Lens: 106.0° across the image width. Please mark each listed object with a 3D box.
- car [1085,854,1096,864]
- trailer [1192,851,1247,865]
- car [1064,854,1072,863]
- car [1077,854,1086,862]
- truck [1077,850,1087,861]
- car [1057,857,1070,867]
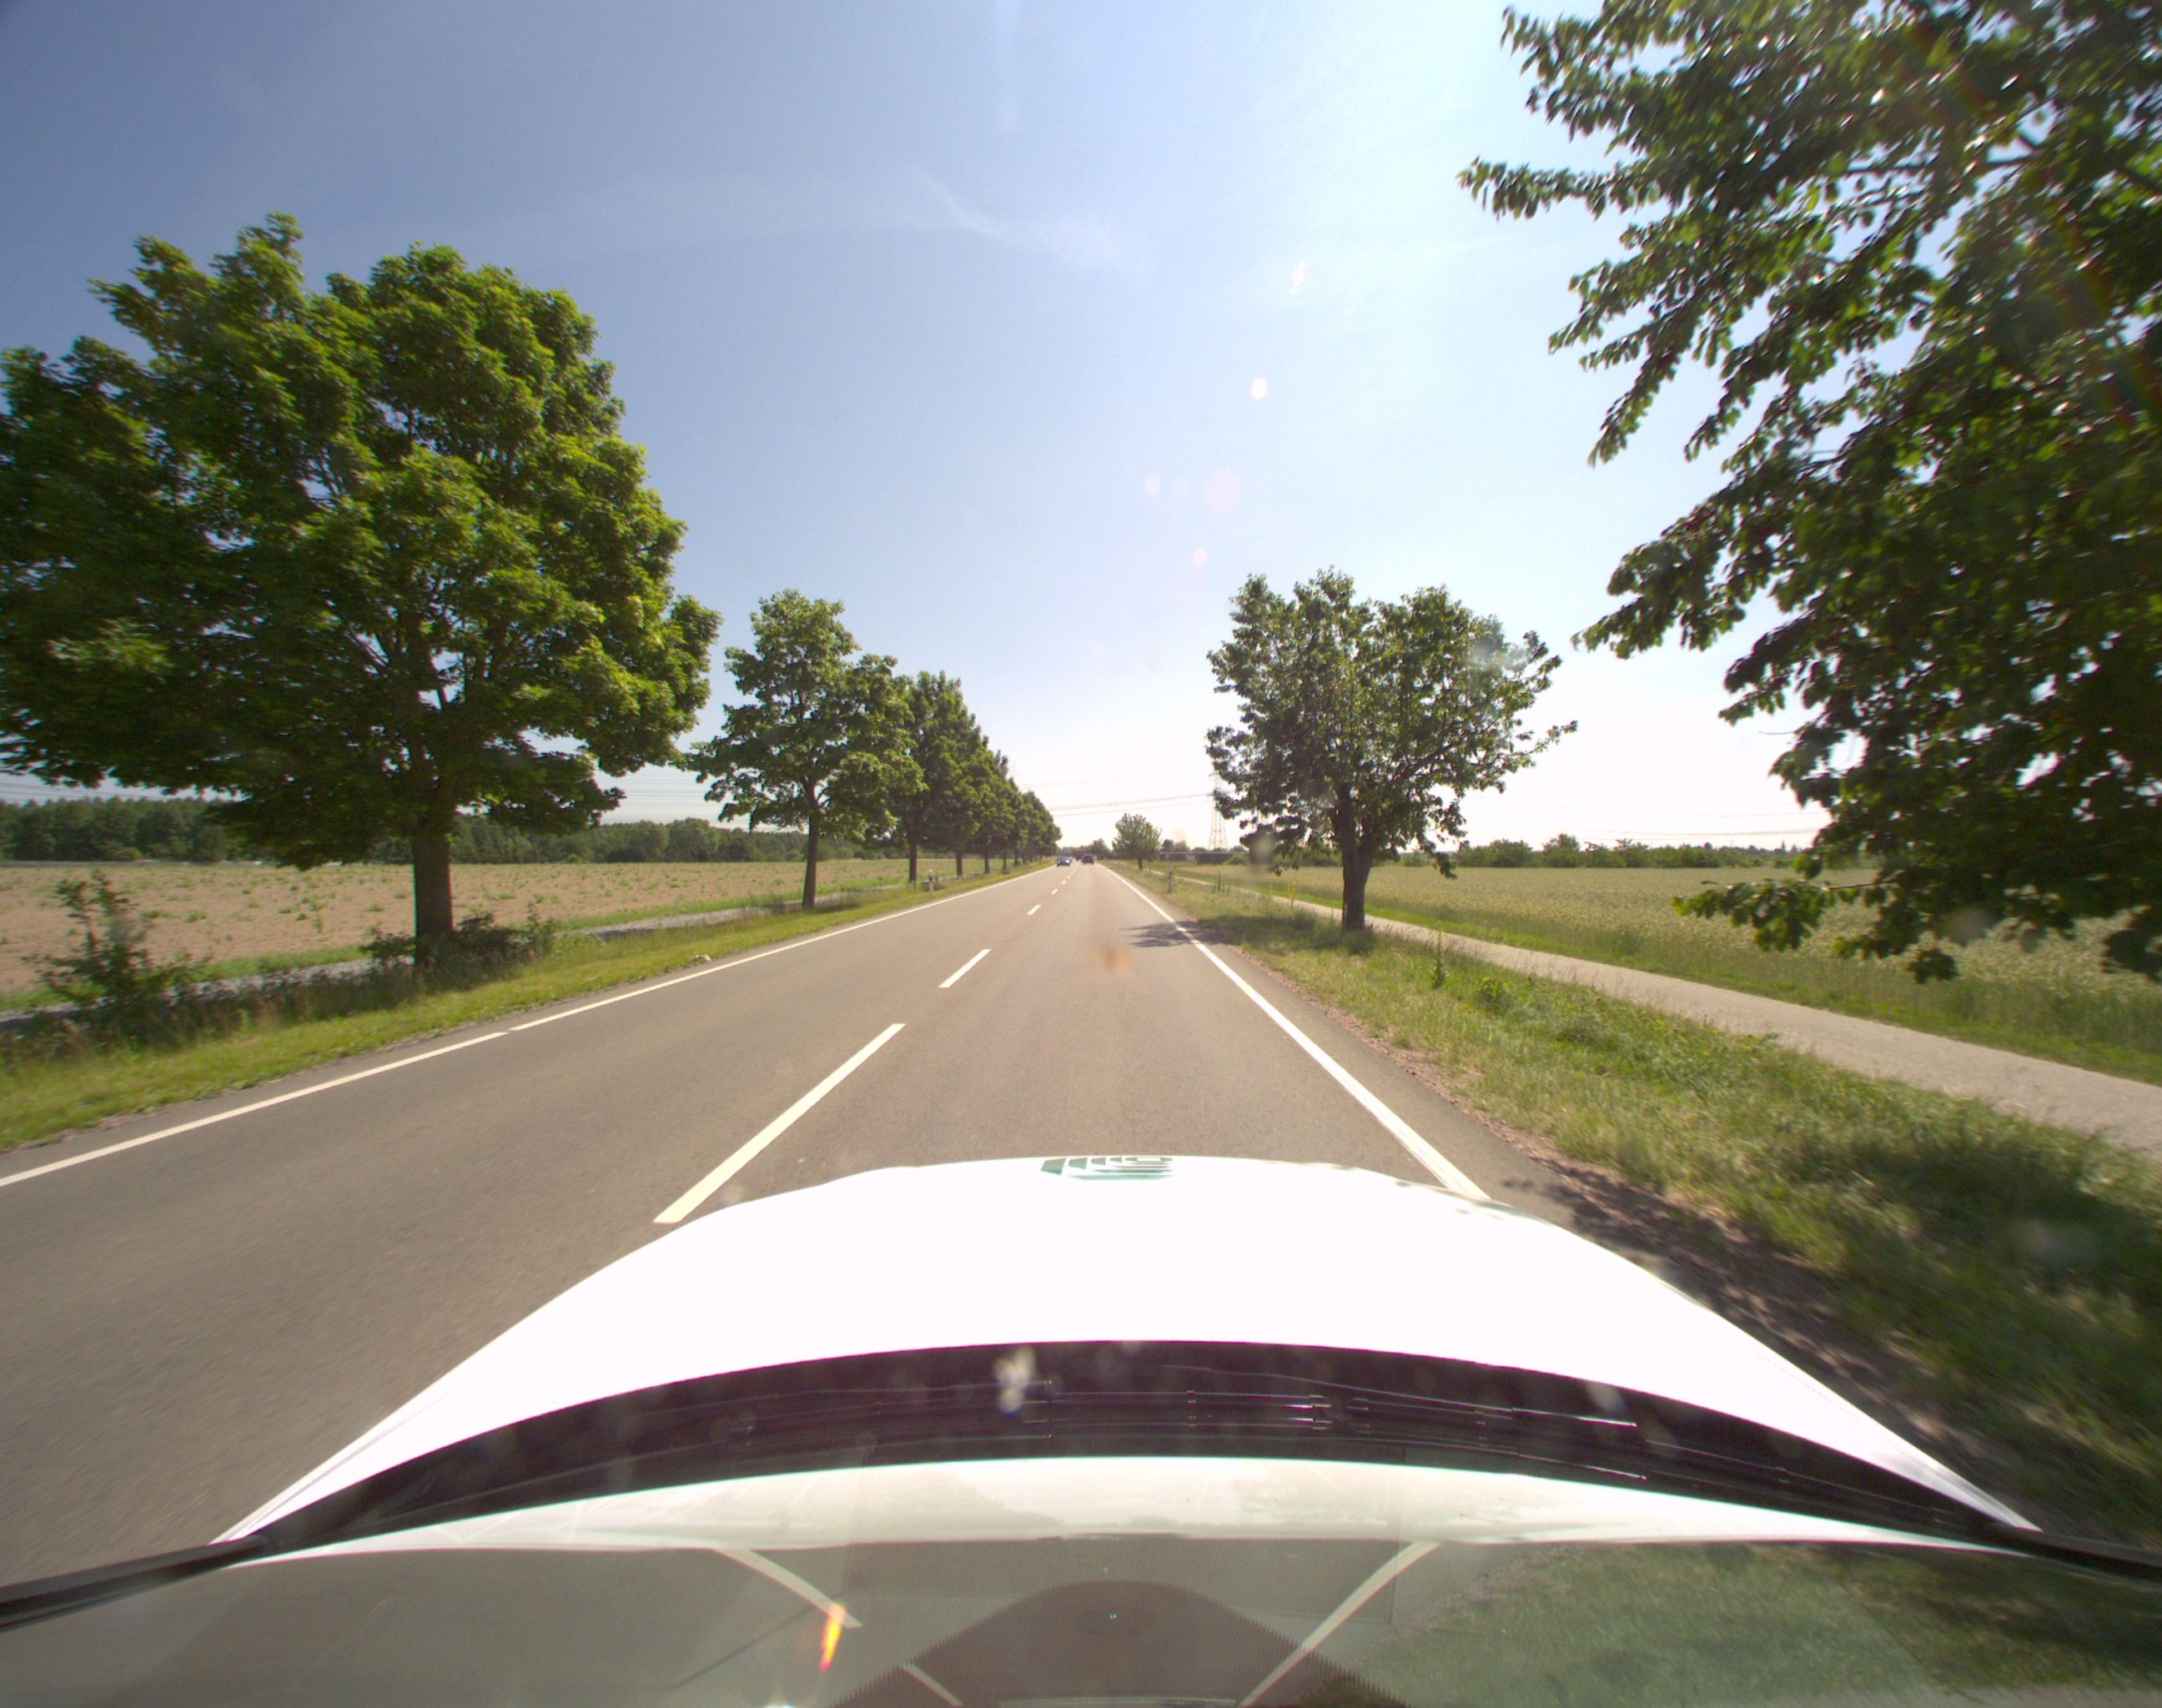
[{"bbox_3d":[1.662,0.929,139.346,1.709,1.694,3.987,-1,-1,-1],"label":"car"},{"bbox_3d":[34.933,1.103,205.701,13.477,3.475,3.273,0,0,-3],"label":"trailer"},{"bbox_3d":[-2.762,0.882,174.360,1.675,1.849,4.000,0,0,0],"label":"car"},{"bbox_3d":[0.106,0.880,177.129,1.846,1.523,3.995,-1,-1,-3],"label":"car"},{"bbox_3d":[0.281,0.424,233.943,2.366,3.140,8.735,0,0,-4],"label":"truck"},{"bbox_3d":[-2.563,1.195,119.902,1.816,1.420,4.589,-1,-1,0],"label":"car"}]
